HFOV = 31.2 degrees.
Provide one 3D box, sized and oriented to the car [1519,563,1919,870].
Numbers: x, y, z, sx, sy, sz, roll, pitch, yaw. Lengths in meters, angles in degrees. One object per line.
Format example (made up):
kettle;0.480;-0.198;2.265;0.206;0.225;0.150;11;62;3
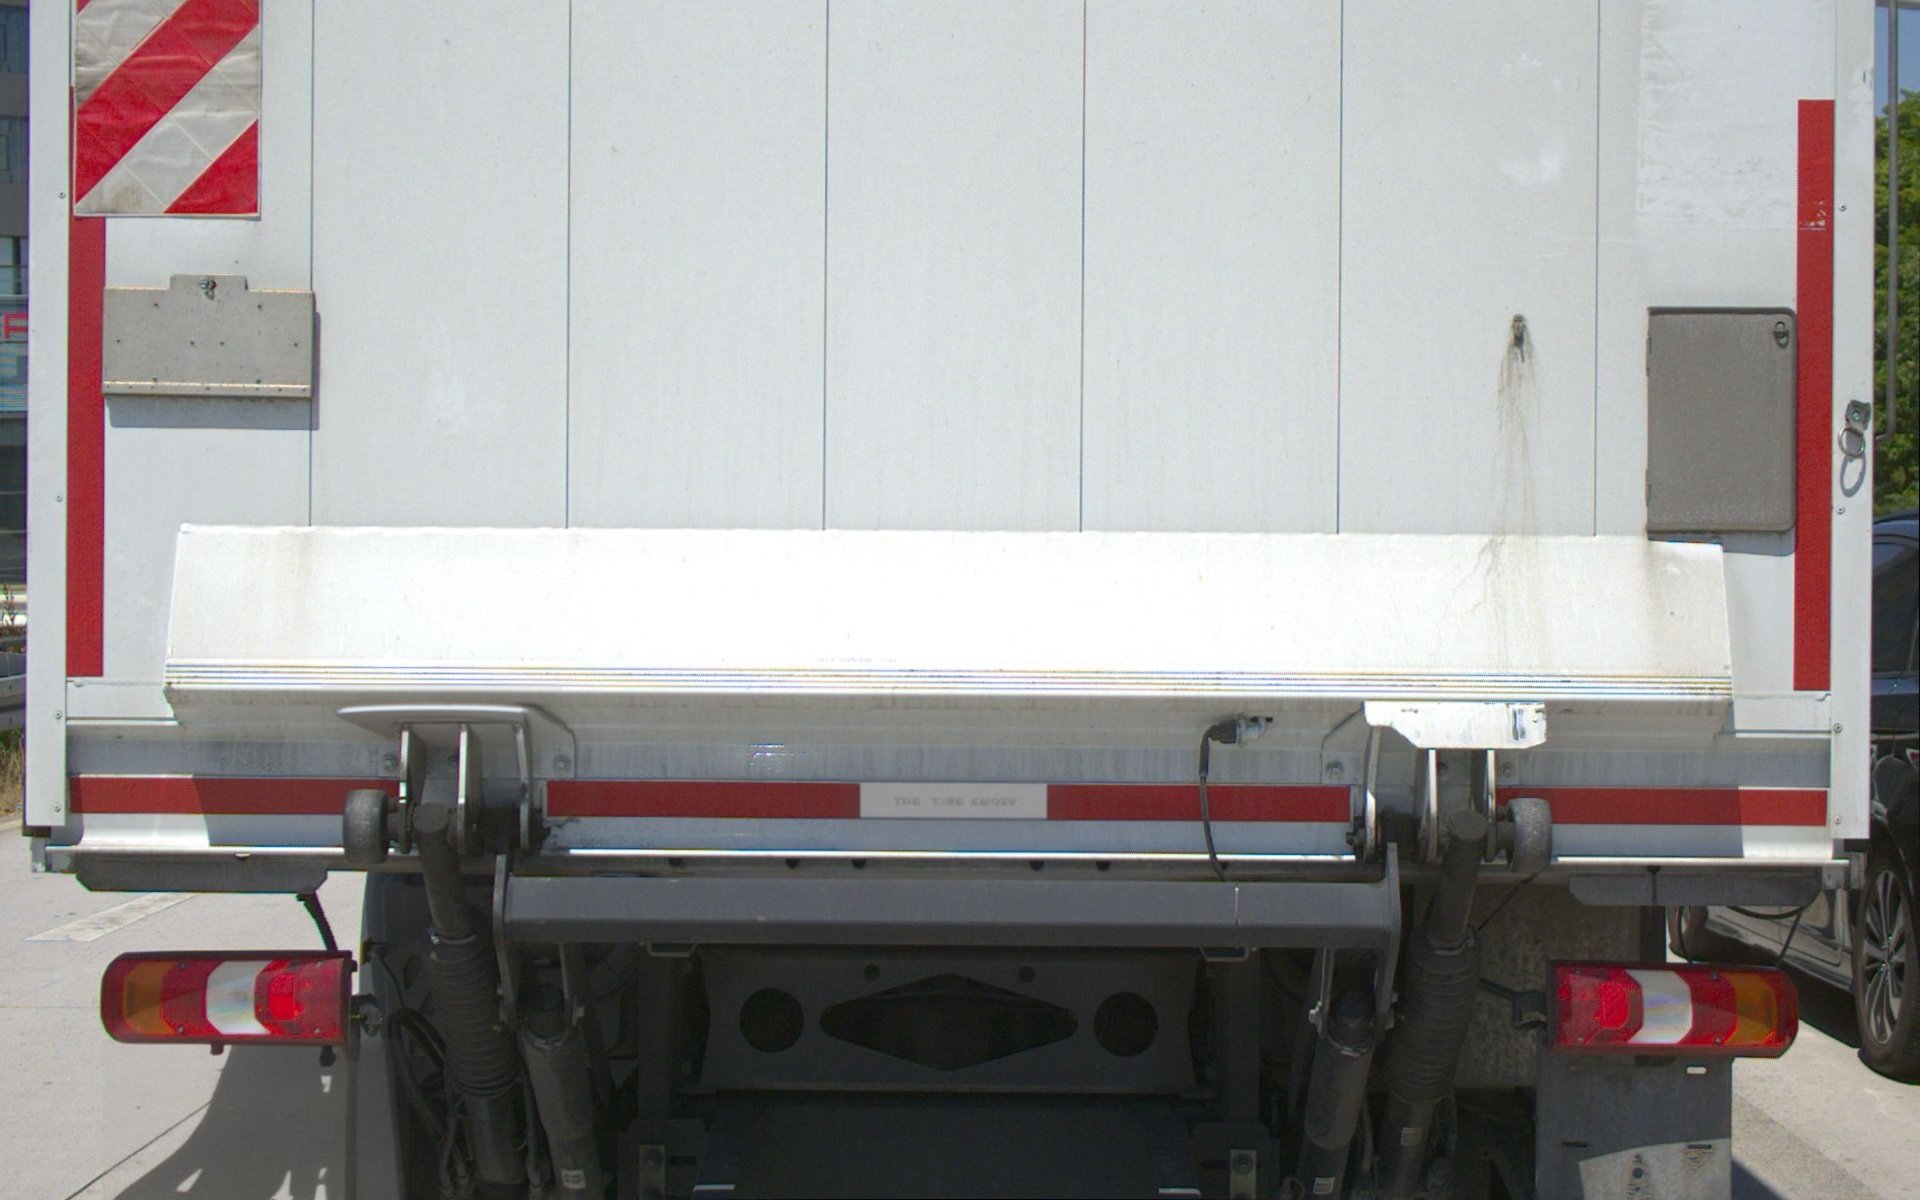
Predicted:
car;4.156;0.523;18.277;1.768;1.405;4.609;1;1;2

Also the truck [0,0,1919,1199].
truck;-0.022;-0.559;9.191;2.769;3.846;9.371;1;1;-1

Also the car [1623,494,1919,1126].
car;3.441;0.533;11.106;1.784;1.634;4.647;1;1;1
